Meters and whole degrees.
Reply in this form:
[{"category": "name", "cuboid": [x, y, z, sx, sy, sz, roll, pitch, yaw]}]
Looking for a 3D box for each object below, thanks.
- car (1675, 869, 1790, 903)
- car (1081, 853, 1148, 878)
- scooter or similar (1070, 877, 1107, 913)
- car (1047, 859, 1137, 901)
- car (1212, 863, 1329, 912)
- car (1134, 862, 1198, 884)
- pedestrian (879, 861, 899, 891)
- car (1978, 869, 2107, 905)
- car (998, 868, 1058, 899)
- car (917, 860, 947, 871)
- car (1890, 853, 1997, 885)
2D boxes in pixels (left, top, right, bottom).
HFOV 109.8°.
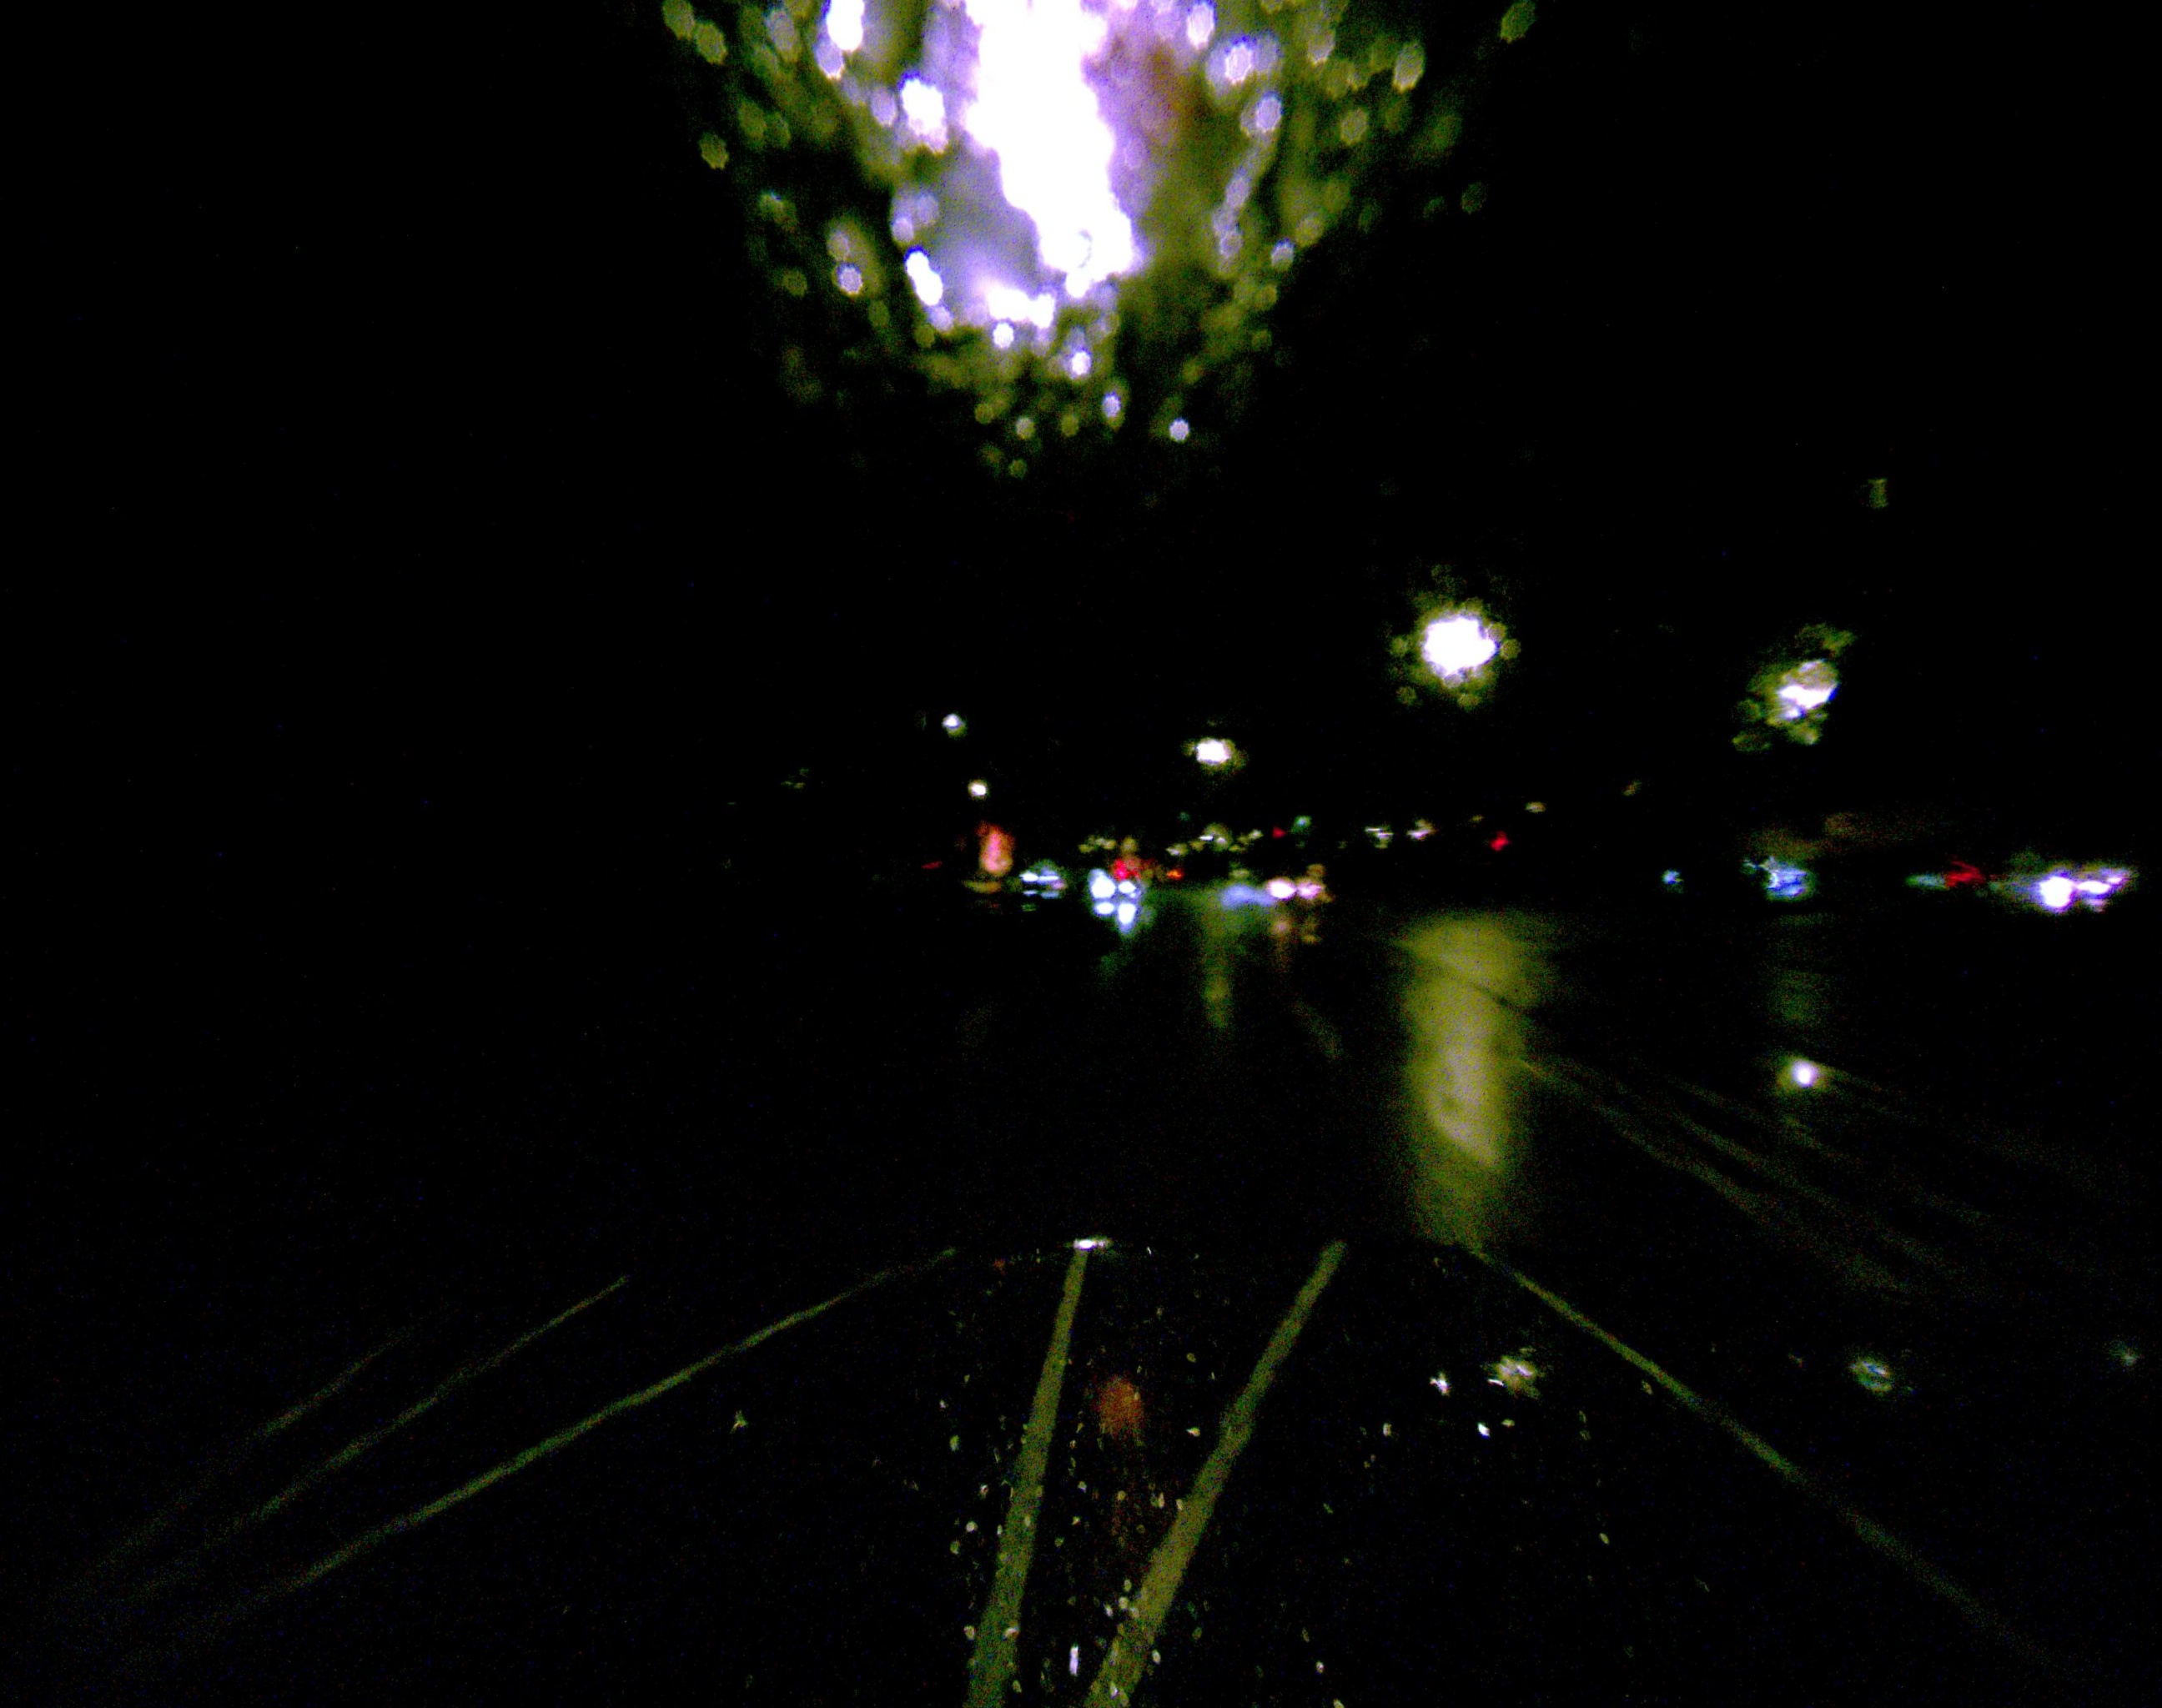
[{"category": "car", "cuboid": [29.863, 1.439, 35.008, 3.936, 1.365, 1.834, 0, 1, 37]}, {"category": "car", "cuboid": [2.456, 0.849, 57.086, 2.067, 1.722, 5.117, -2, 1, -42]}, {"category": "scooter or similar", "cuboid": [0.234, 1.286, 23.986, 1.104, 1.091, 0.317, 1, 1, -5]}, {"category": "car", "cuboid": [0.409, 1.124, 34.574, 1.955, 1.709, 4.430, -2, 1, -33]}, {"category": "car", "cuboid": [6.790, 1.140, 27.835, 1.836, 1.518, 4.866, -1, 1, -19]}, {"category": "car", "cuboid": [6.864, 1.508, 61.724, 2.074, 1.706, 5.026, -2, 1, -41]}, {"category": "pedestrian", "cuboid": [-9.816, 1.116, 38.839, 0.729, 1.477, 0.834, -2, 1, -33]}, {"category": "car", "cuboid": [47.178, 1.585, 37.416, 1.757, 1.565, 4.003, -1, 1, 11]}, {"category": "car", "cuboid": [-3.245, 1.732, 45.856, 1.838, 1.696, 4.183, -2, 1, -33]}, {"category": "car", "cuboid": [-20.206, 1.564, 103.029, 2.003, 1.394, 5.336, -2, 1, -34]}, {"category": "car", "cuboid": [57.891, 0.950, 51.129, 1.999, 2.002, 4.419, -1, 1, -5]}]
